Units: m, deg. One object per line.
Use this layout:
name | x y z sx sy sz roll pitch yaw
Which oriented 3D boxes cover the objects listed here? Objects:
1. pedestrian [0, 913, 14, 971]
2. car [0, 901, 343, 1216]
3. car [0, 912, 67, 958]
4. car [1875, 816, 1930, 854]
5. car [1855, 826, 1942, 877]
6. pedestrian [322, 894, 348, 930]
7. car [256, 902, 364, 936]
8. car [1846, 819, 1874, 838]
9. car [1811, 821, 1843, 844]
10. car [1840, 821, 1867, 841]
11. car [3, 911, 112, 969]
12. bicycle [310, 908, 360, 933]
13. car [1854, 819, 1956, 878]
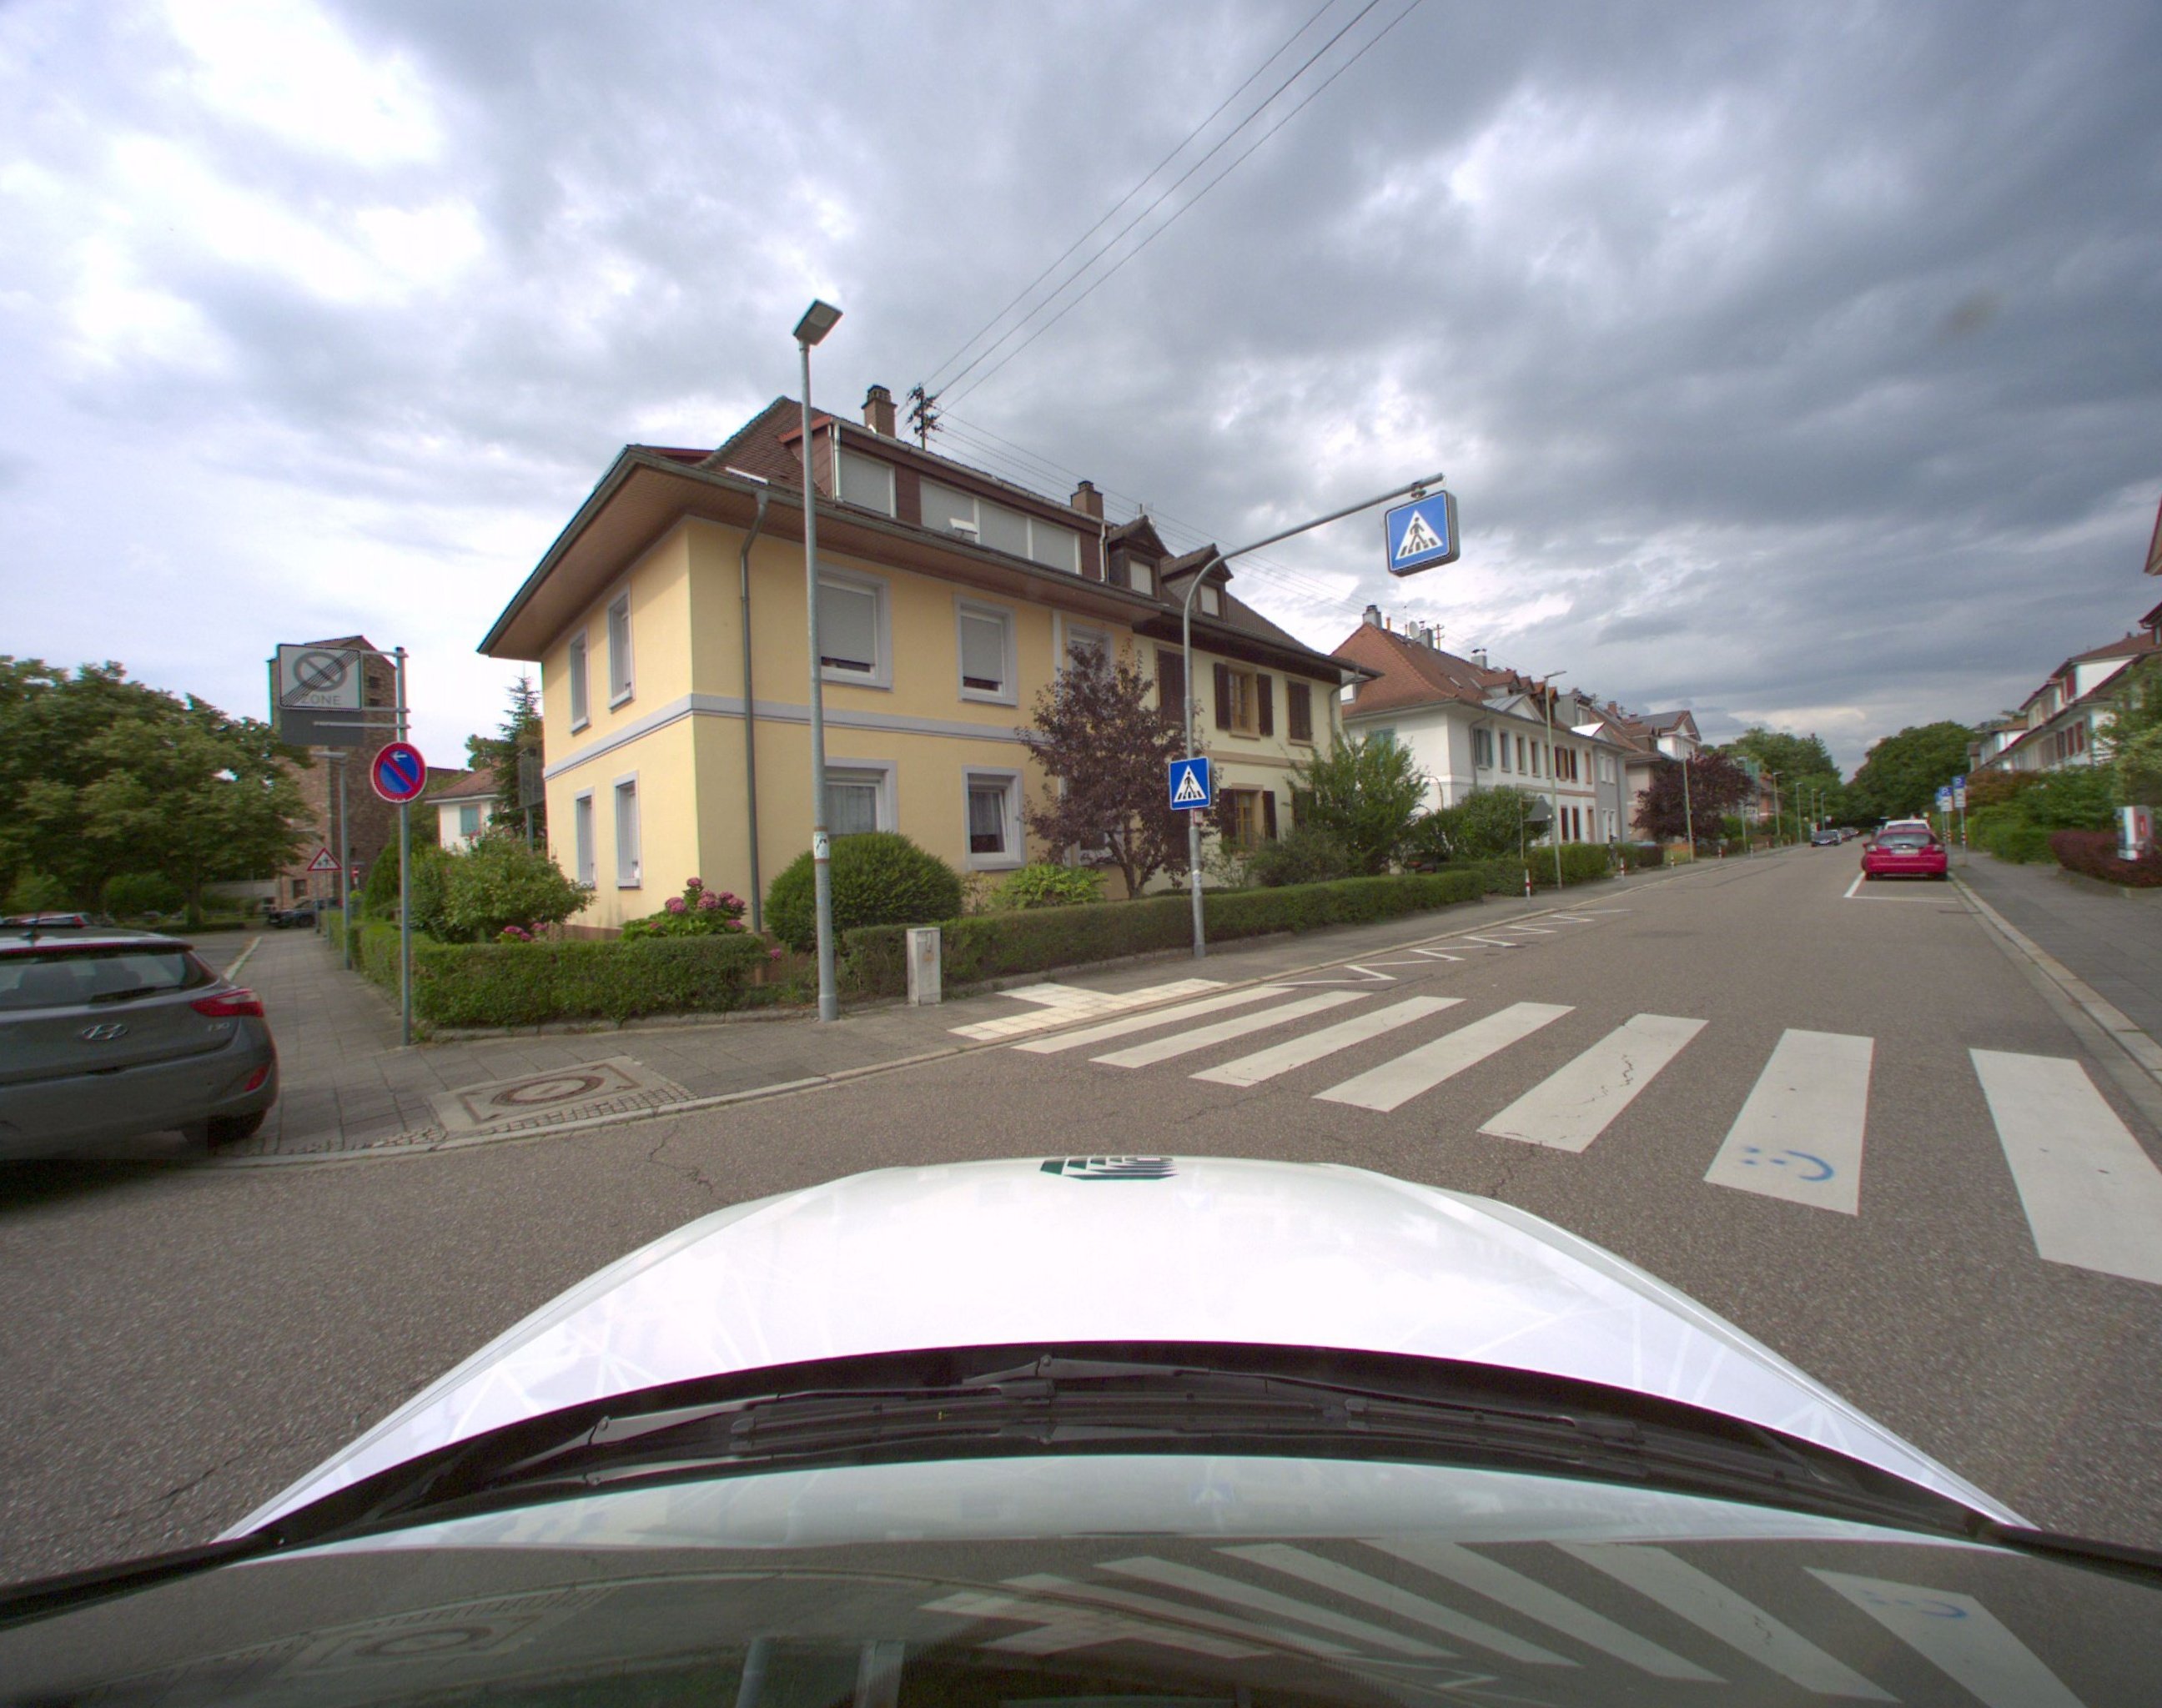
pedestrian | -35.980 2.929 26.795 0.889 1.878 1.065 -2 -1 -44
car | -7.142 1.154 5.140 3.996 1.481 1.863 -3 -1 17
car | -40.590 3.115 31.431 3.436 1.495 1.662 -4 2 39
car | 44.858 -1.030 44.499 4.024 1.904 1.975 -2 -1 -45
car | 28.399 -0.110 28.339 4.024 1.574 1.975 -2 -1 -45
pedestrian | -39.934 3.088 43.607 0.616 1.817 0.935 -3 -1 39
car | -42.405 3.521 44.880 1.663 1.464 4.253 -1 0 45
car | 73.288 -2.411 76.694 1.713 1.706 4.025 -2 0 41
car | 69.948 -2.000 76.315 4.024 2.014 1.975 -2 -1 -45
car | 83.221 -2.481 87.738 4.023 2.013 1.975 -2 0 -45
car | -32.017 2.638 25.576 3.438 1.495 1.661 -4 2 45
bicycle | -39.951 3.553 43.624 0.448 1.130 1.908 -3 -1 38
car | 24.760 -0.189 24.536 4.024 1.574 1.975 -2 -1 -45
